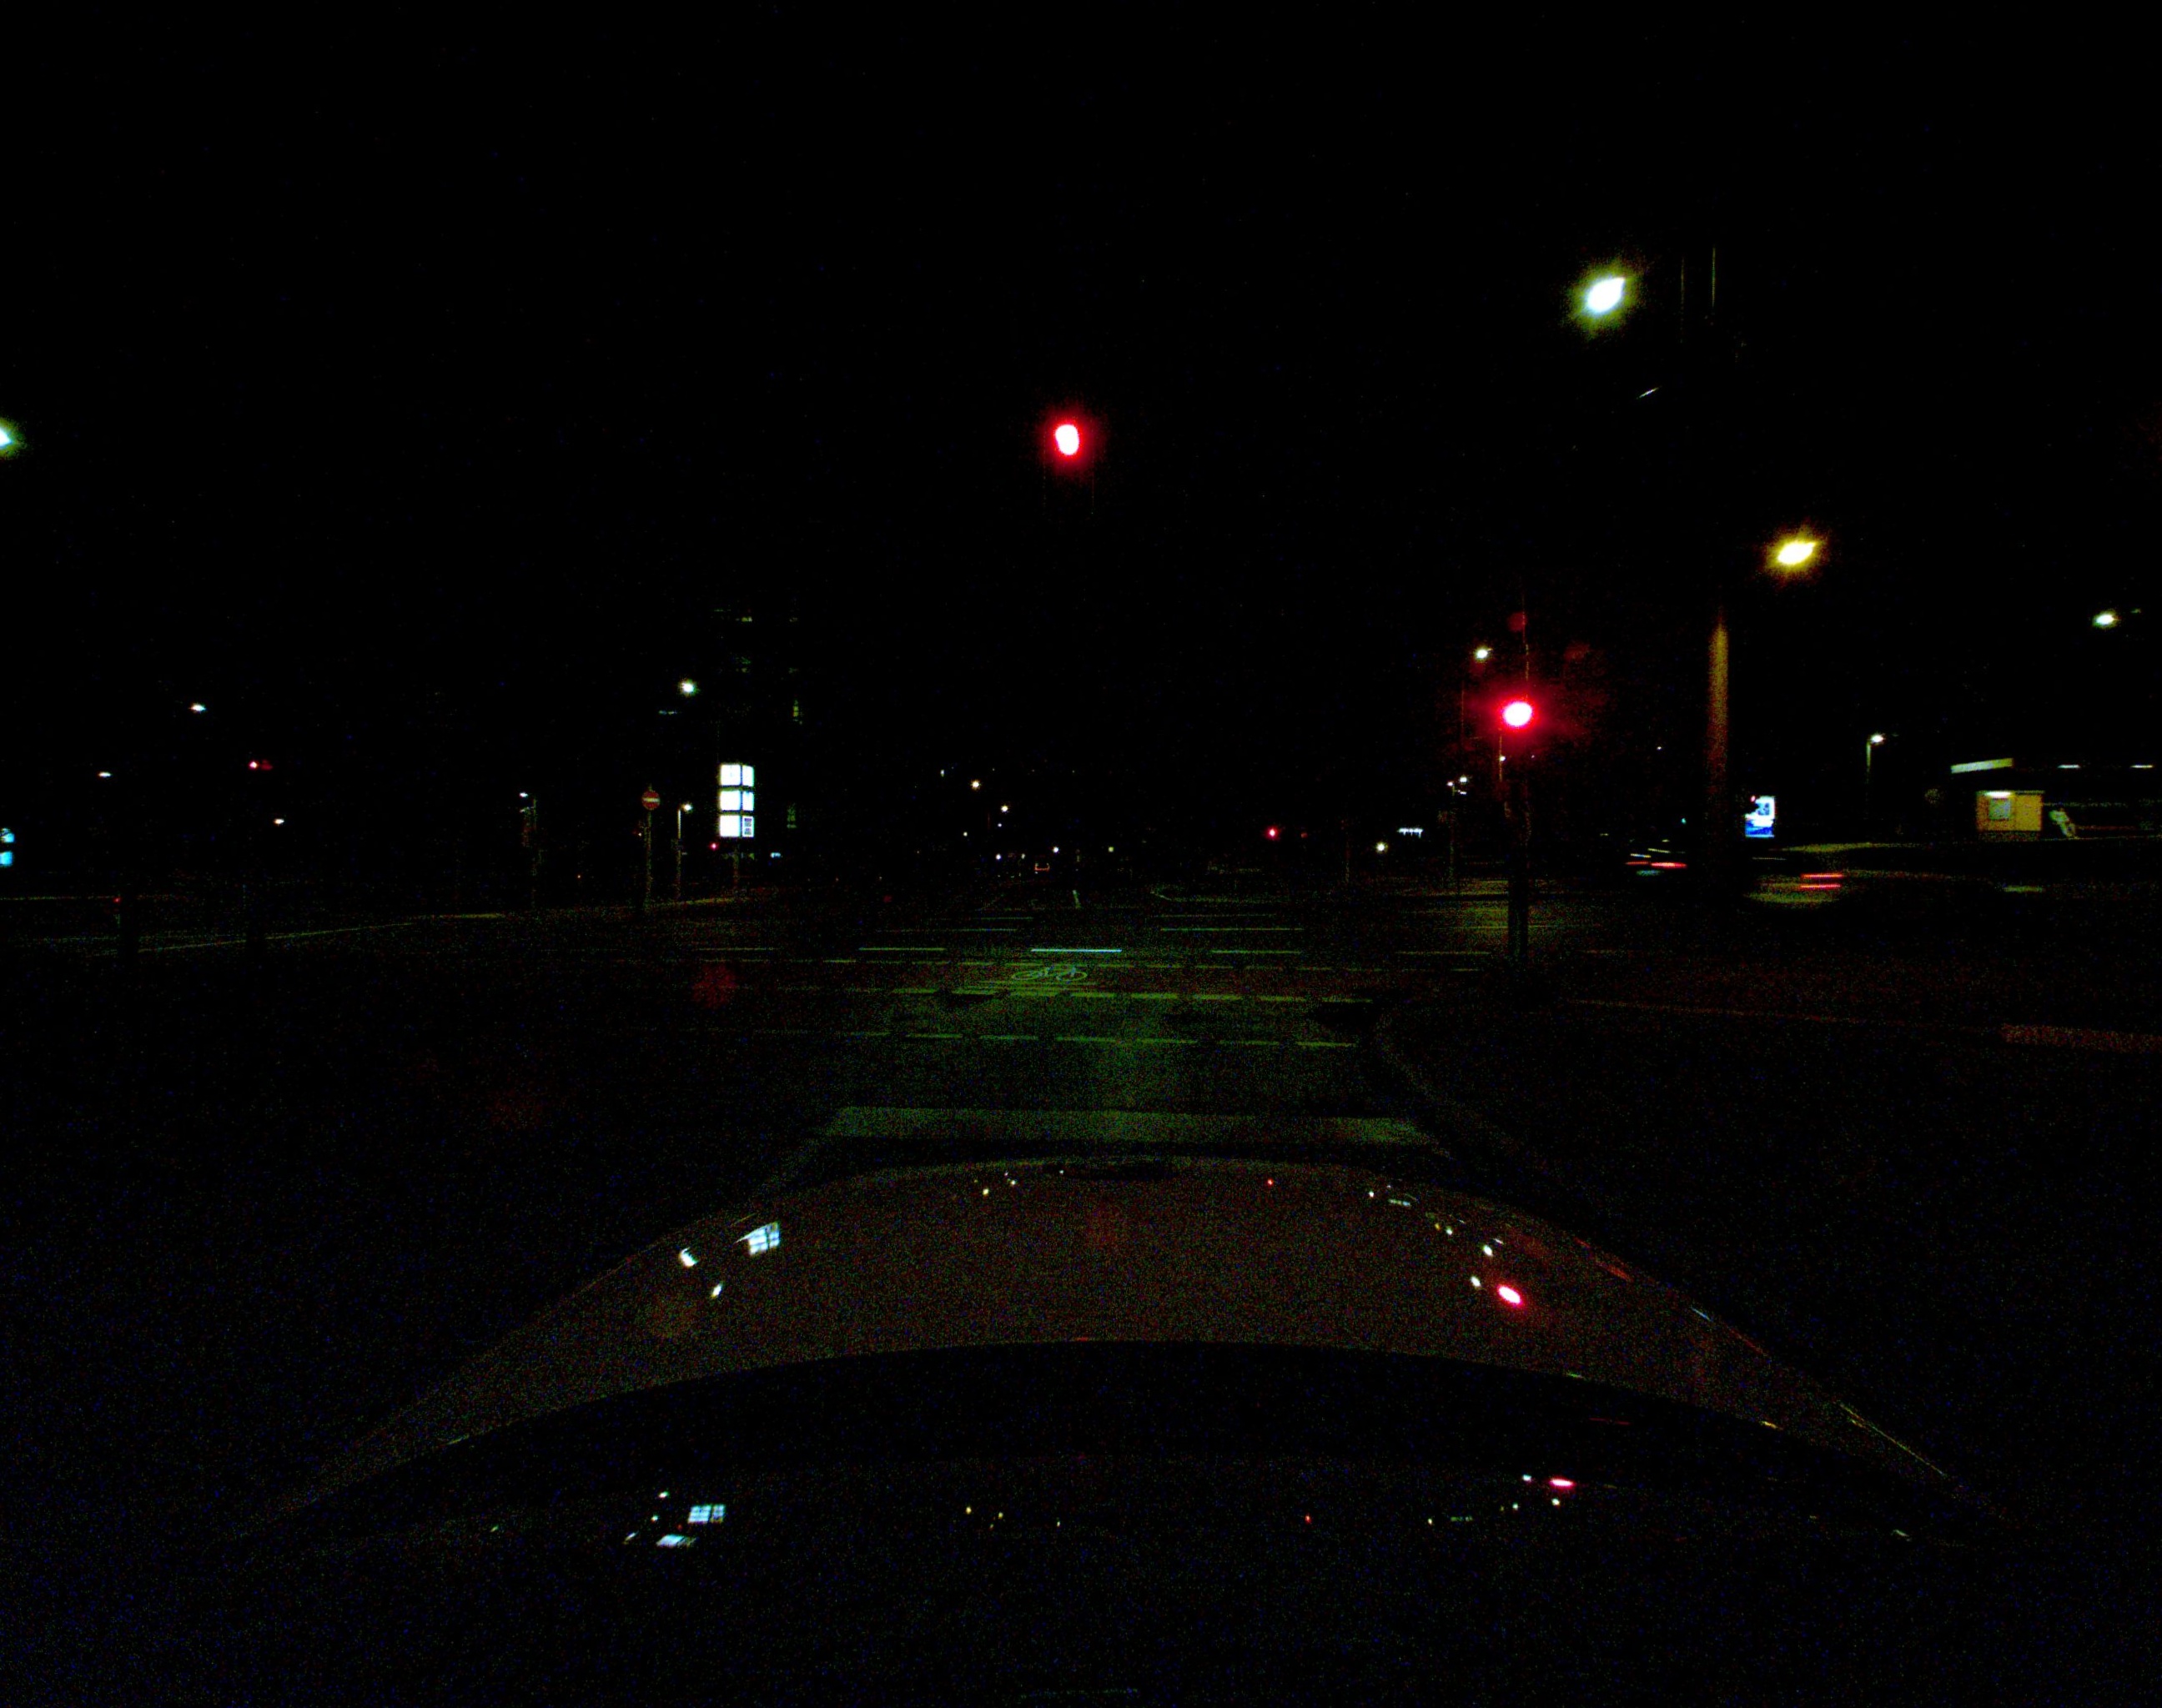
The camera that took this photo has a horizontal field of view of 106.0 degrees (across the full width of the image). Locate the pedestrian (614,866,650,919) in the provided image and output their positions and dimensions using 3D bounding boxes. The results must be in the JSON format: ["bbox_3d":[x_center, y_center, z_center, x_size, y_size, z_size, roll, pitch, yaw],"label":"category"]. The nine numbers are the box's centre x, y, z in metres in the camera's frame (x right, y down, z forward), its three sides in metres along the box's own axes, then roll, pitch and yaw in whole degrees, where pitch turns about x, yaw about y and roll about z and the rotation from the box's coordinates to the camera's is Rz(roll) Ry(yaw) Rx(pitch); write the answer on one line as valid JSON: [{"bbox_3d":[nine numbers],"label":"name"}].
[{"bbox_3d":[-13.986,1.182,25.385,0.667,1.634,0.862,0,-1,-3],"label":"pedestrian"}]

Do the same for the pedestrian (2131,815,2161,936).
[{"bbox_3d":[15.847,0.287,11.533,0.752,1.745,0.834,-3,-2,1],"label":"pedestrian"}]

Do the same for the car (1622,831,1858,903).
[{"bbox_3d":[16.695,0.293,20.829,4.425,1.659,1.867,-1,1,4],"label":"car"}]

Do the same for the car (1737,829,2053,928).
[{"bbox_3d":[15.002,0.414,15.205,3.968,1.662,1.813,-1,2,4],"label":"car"}]

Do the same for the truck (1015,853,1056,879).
[{"bbox_3d":[-8.556,2.224,151.647,4.835,4.547,12.591,0,-1,-17],"label":"truck"}]

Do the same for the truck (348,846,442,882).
[{"bbox_3d":[-59.977,0.878,71.288,5.873,3.088,2.915,0,-1,3],"label":"truck"}]

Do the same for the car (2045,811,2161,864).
[{"bbox_3d":[44.270,-0.698,34.578,3.966,2.014,2.003,-4,-1,6],"label":"car"}]

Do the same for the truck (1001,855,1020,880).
[{"bbox_3d":[-10.436,1.959,119.810,2.580,3.707,5.723,0,-1,-7],"label":"truck"}]
